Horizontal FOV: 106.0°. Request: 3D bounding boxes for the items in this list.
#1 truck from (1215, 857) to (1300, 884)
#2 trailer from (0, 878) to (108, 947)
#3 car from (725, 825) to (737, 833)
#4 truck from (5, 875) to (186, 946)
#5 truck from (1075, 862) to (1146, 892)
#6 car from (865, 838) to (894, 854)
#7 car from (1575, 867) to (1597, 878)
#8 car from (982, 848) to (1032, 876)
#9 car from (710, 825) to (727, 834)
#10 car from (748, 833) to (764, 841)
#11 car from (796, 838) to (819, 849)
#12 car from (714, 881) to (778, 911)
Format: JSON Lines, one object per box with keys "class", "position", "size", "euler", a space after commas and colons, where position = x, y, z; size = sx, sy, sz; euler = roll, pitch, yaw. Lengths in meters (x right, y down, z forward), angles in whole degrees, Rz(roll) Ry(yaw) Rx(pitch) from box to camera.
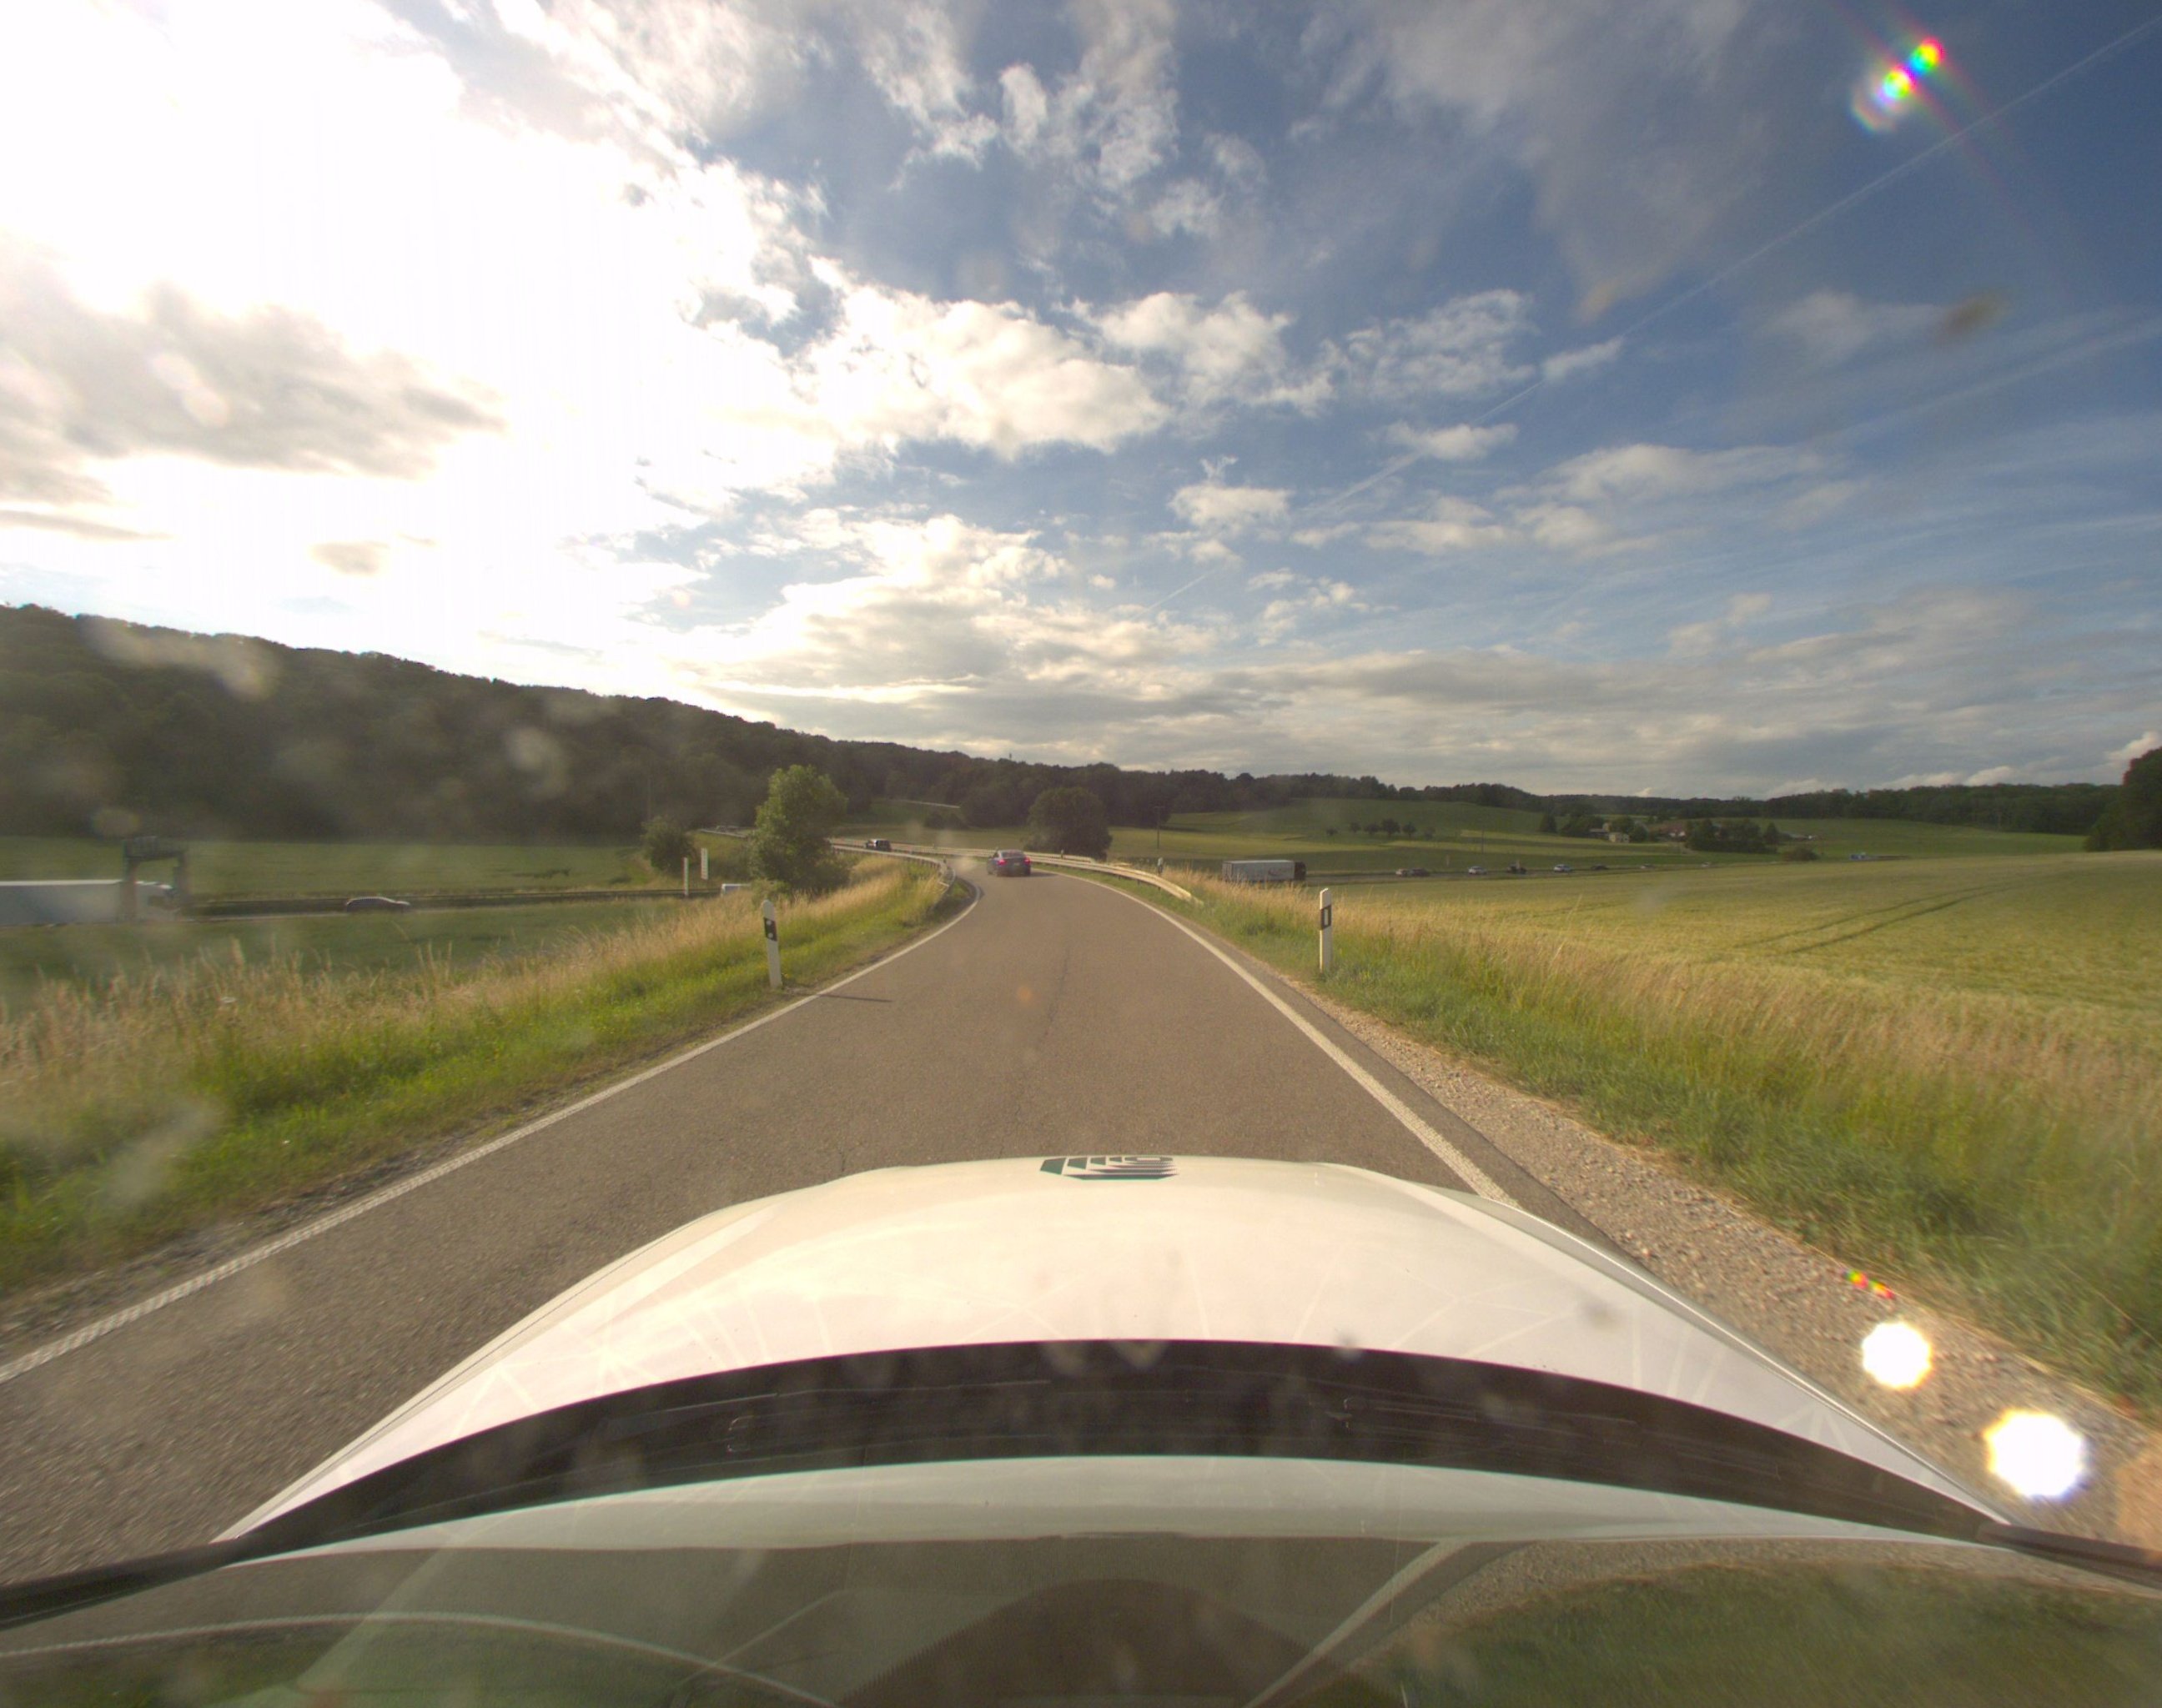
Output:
{"class": "truck", "position": [28.597, 2.625, 131.506], "size": [14.471, 3.997, 4.039], "euler": [-1, -1, -31]}
{"class": "trailer", "position": [-79.518, 4.313, 57.873], "size": [12.789, 4.466, 2.999], "euler": [-2, 5, -38]}
{"class": "car", "position": [-82.256, -5.910, 191.255], "size": [2.007, 1.771, 3.960], "euler": [-5, 3, -31]}
{"class": "truck", "position": [-74.457, 4.158, 61.879], "size": [8.095, 4.466, 2.997], "euler": [-2, 5, -38]}
{"class": "truck", "position": [4.262, 3.269, 117.117], "size": [9.841, 4.060, 3.797], "euler": [0, 0, -34]}
{"class": "car", "position": [-19.691, -0.809, 79.477], "size": [1.873, 1.568, 3.964], "euler": [0, 1, -28]}
{"class": "car", "position": [102.784, 3.809, 165.733], "size": [4.009, 2.014, 1.982], "euler": [-1, -1, -28]}
{"class": "car", "position": [-4.062, 0.377, 44.047], "size": [1.823, 1.339, 4.324], "euler": [-2, 2, -18]}
{"class": "car", "position": [-70.918, -4.839, 159.366], "size": [2.009, 1.679, 4.132], "euler": [2, 0, -37]}
{"class": "car", "position": [-48.978, -2.593, 122.797], "size": [1.482, 1.227, 3.264], "euler": [0, 1, -35]}
{"class": "car", "position": [-35.114, -1.352, 104.428], "size": [1.695, 1.376, 3.958], "euler": [-1, 2, -35]}
{"class": "car", "position": [-36.458, 4.517, 88.785], "size": [6.144, 2.583, 2.352], "euler": [-1, 7, -32]}
